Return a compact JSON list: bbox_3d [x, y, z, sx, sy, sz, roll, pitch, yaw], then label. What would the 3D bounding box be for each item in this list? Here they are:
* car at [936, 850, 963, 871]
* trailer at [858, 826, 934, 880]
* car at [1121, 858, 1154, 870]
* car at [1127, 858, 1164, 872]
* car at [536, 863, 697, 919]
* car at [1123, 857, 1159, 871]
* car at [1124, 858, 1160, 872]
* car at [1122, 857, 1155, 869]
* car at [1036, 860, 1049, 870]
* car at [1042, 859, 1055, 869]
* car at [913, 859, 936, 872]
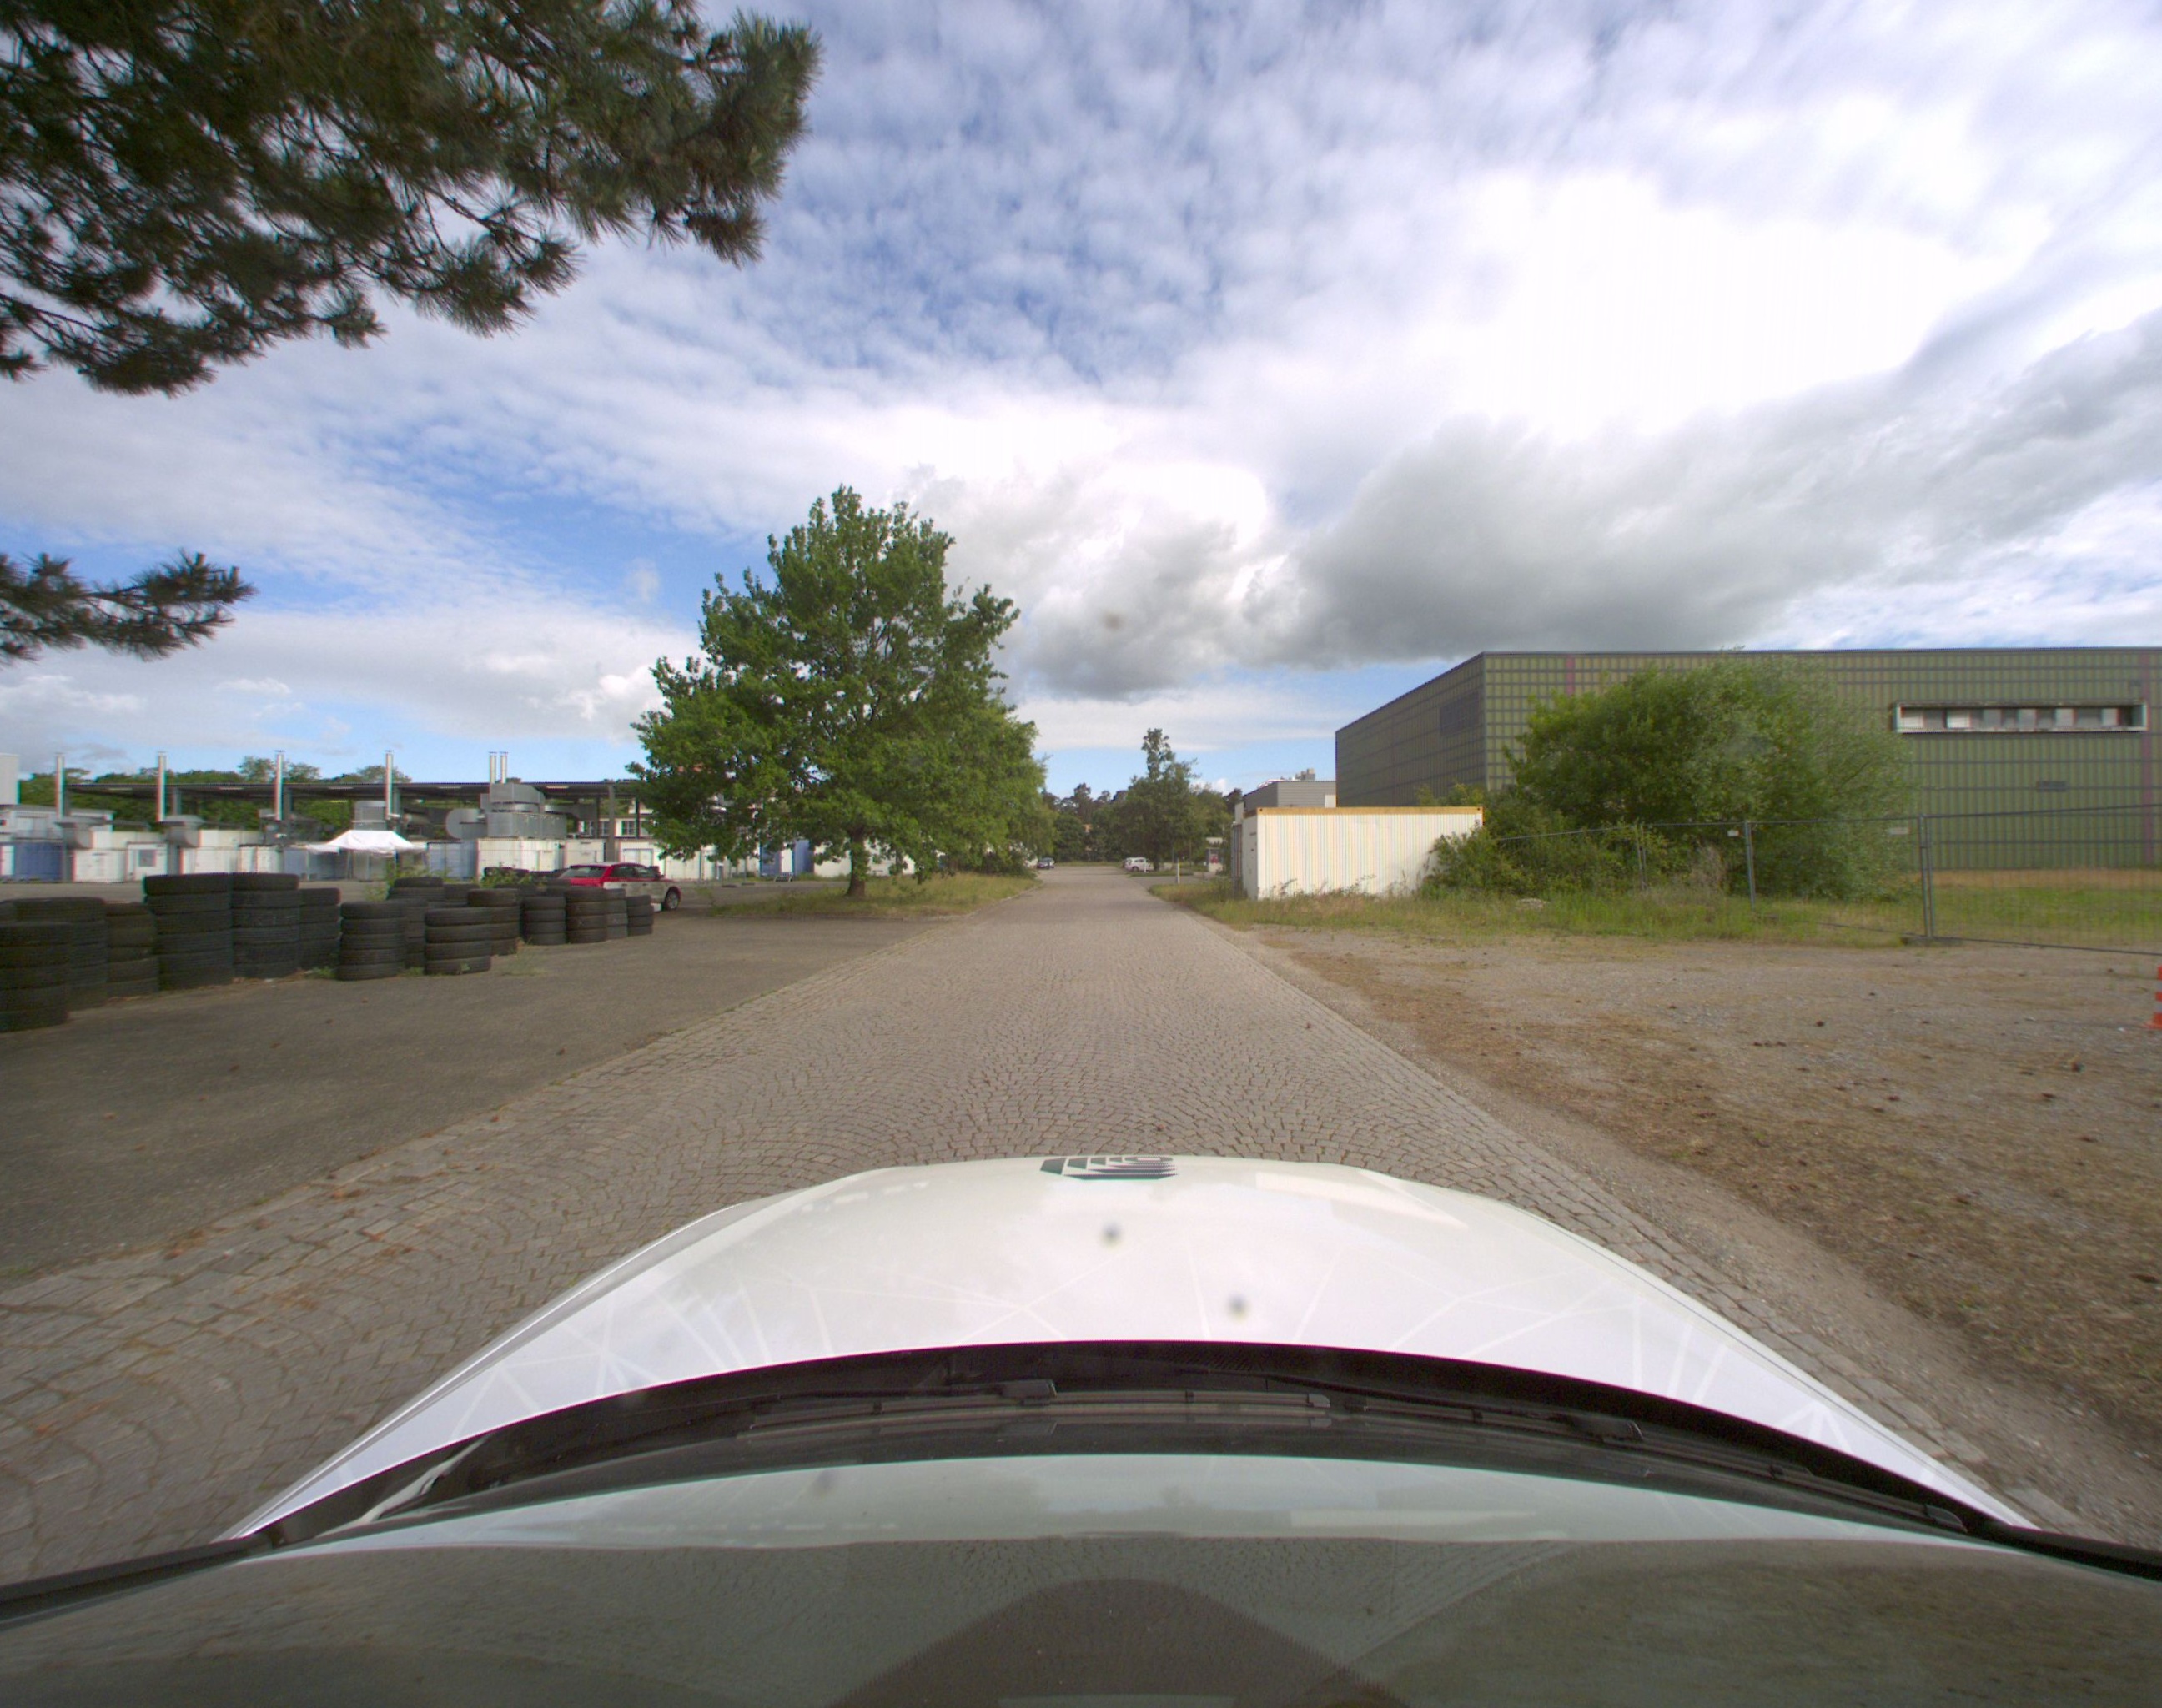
[{"bbox_3d":[-16.302,0.822,101.228,1.984,2.523,5.624,-1,-1,4],"label":"car"},{"bbox_3d":[-13.727,-0.039,61.584,2.645,3.706,10.731,-1,0,3],"label":"trailer"},{"bbox_3d":[6.808,1.186,98.758,3.973,1.455,1.770,-1,-1,1],"label":"car"},{"bbox_3d":[7.022,1.208,88.640,3.972,1.455,2.000,0,-1,1],"label":"car"},{"bbox_3d":[-13.049,0.975,23.224,1.814,1.432,4.227,0,0,7],"label":"car"},{"bbox_3d":[6.889,1.152,93.853,3.973,1.455,1.770,-1,-1,1],"label":"car"},{"bbox_3d":[6.771,1.199,90.812,3.973,1.455,1.698,-1,-1,1],"label":"car"},{"bbox_3d":[7.196,1.116,101.971,3.978,1.533,1.998,-1,-1,-3],"label":"car"},{"bbox_3d":[-5.295,1.487,112.716,1.744,1.364,3.998,-1,0,-1],"label":"car"},{"bbox_3d":[-4.889,1.550,122.949,1.744,1.454,3.998,-1,0,-1],"label":"car"},{"bbox_3d":[-19.176,1.355,99.970,1.893,1.575,4.002,-1,0,2],"label":"car"}]
